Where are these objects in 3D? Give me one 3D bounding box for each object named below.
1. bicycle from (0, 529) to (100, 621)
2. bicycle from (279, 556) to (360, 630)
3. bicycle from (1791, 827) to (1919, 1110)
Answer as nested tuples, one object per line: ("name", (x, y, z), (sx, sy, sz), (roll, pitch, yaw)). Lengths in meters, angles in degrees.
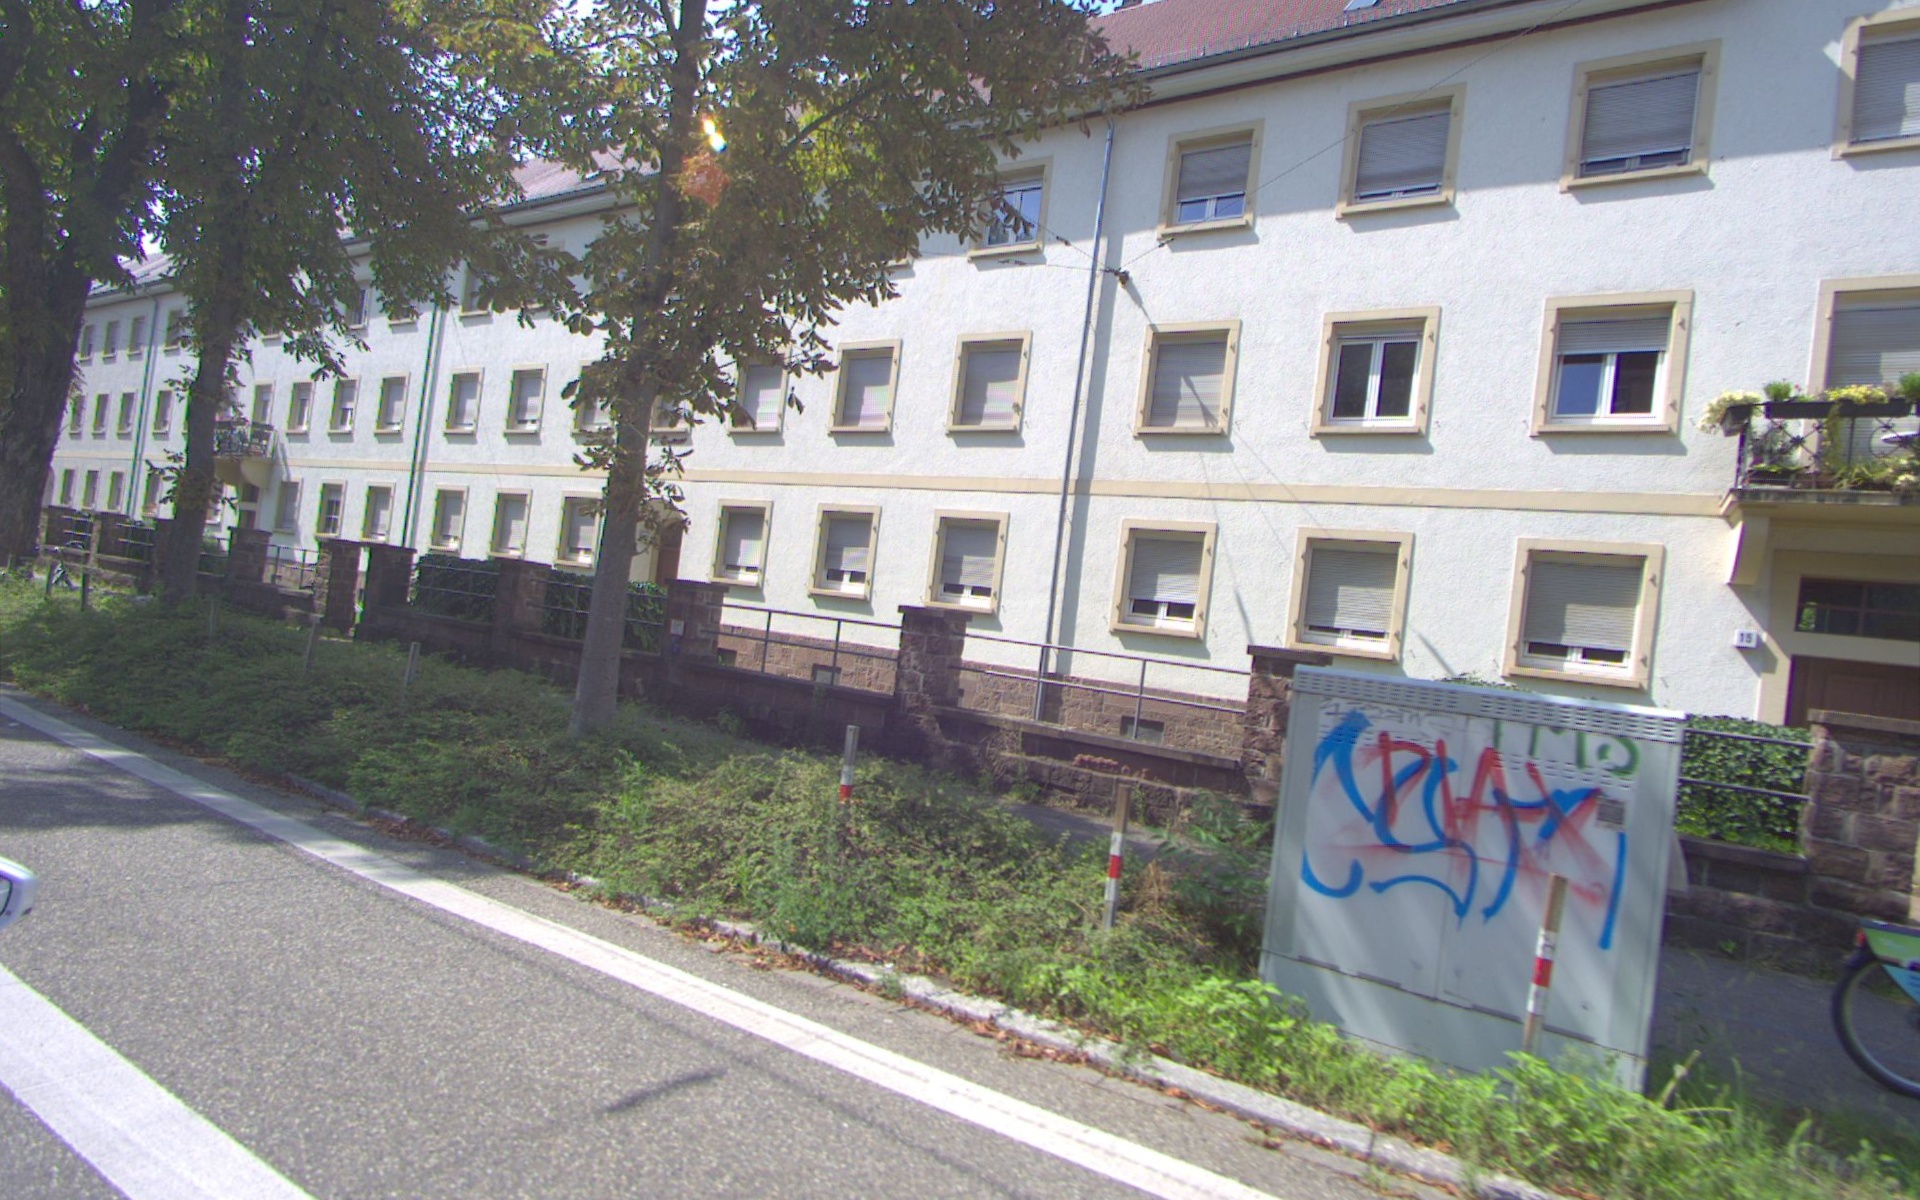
("bicycle", (-12.289, -0.318, 13.399), (0.382, 1.121, 1.393), (7, -2, -2))
("bicycle", (-11.849, -0.135, 18.595), (1.689, 1.174, 0.469), (6, -1, 32))
("bicycle", (4.614, 1.651, 4.067), (1.798, 1.059, 0.441), (6, -1, 30))
